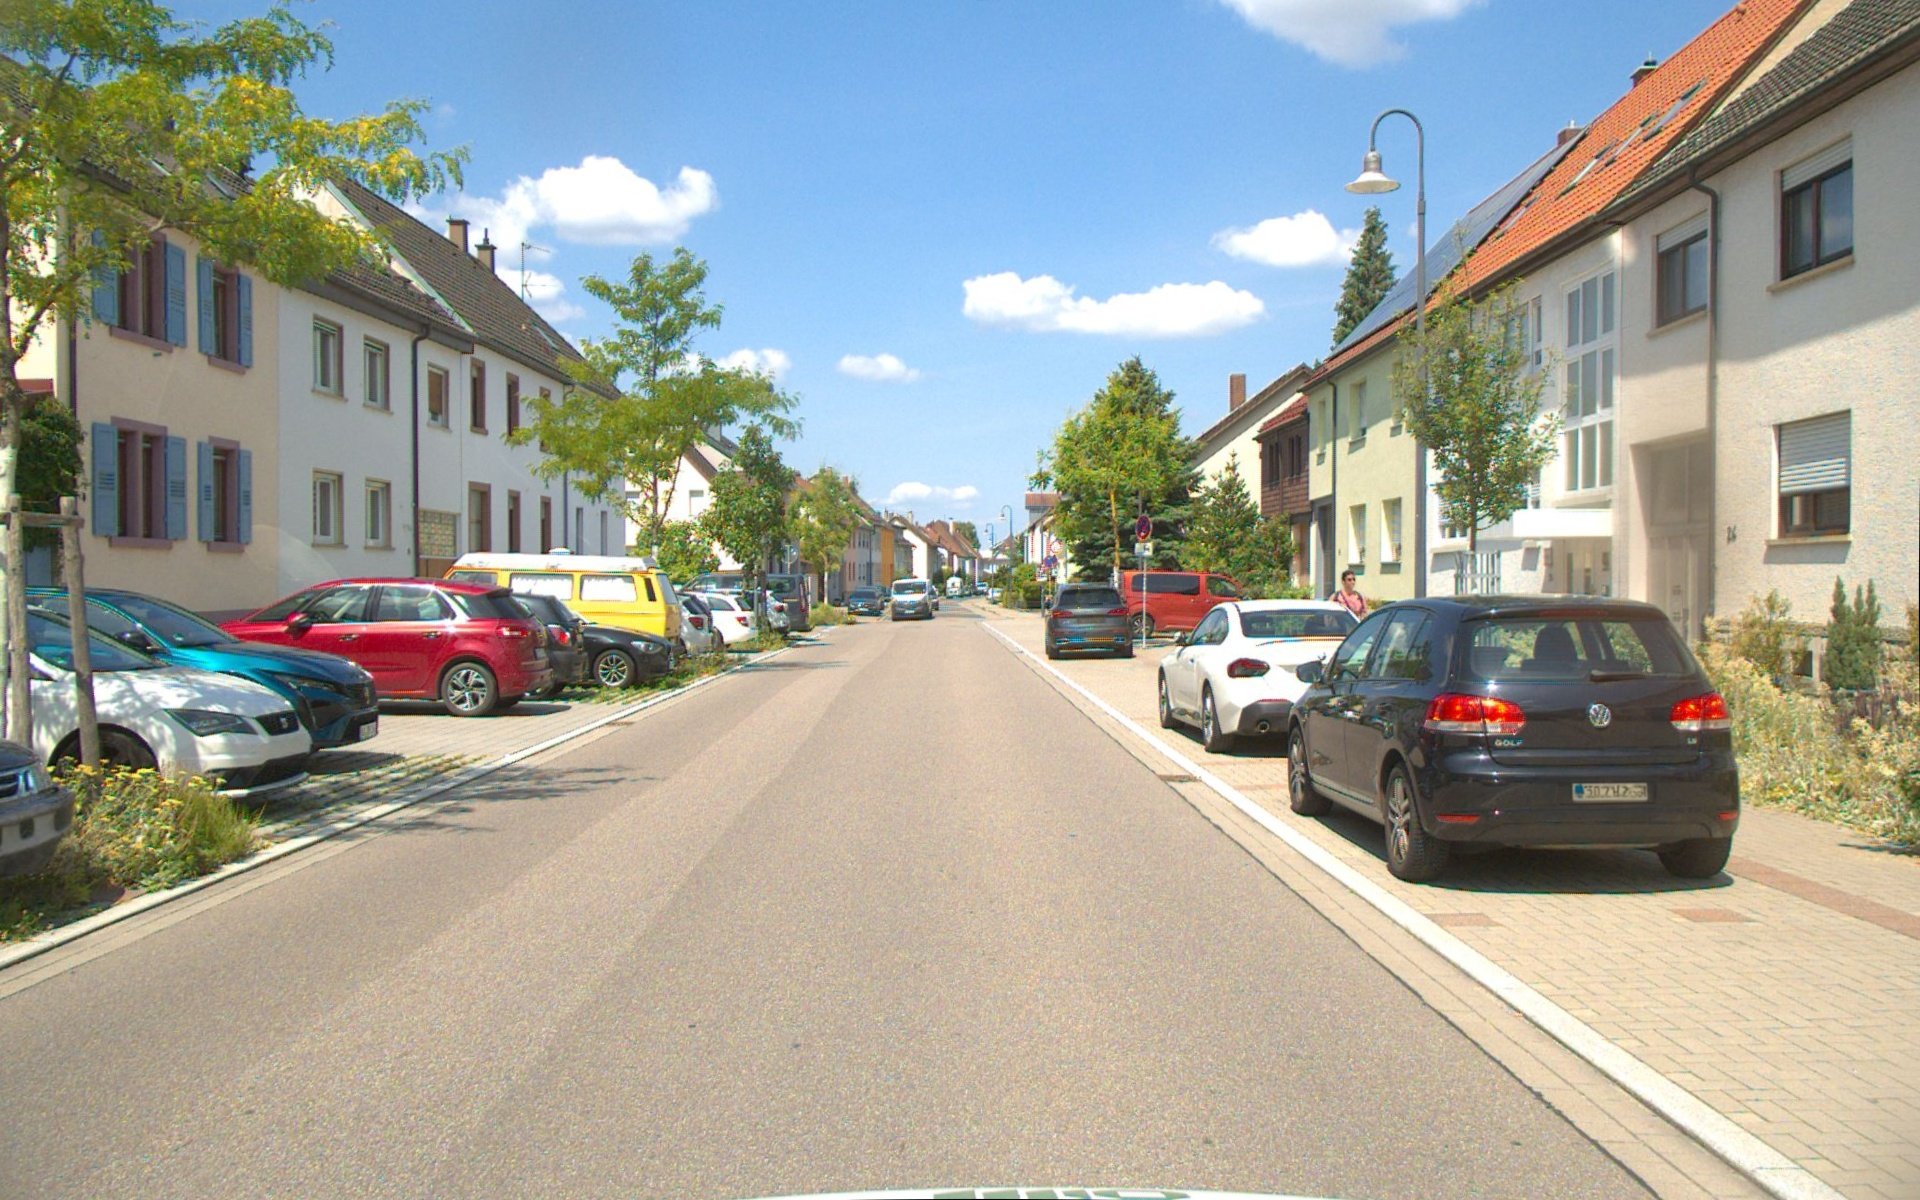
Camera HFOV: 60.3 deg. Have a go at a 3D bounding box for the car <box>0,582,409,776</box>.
[{"bbox_3d":[-7.147,0.622,14.074,4.317,1.503,1.774,1,0,-5],"label":"car"}]

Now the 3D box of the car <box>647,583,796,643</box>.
[{"bbox_3d":[-6.860,0.384,47.853,4.101,1.596,1.772,2,-1,-4],"label":"car"}]

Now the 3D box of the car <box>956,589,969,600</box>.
[{"bbox_3d":[0.345,-0.779,236.587,1.656,1.530,3.772,2,0,3],"label":"car"}]

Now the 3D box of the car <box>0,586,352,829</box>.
[{"bbox_3d":[-6.480,0.663,11.303,3.973,1.503,1.774,1,0,-4],"label":"car"}]

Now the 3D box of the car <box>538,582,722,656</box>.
[{"bbox_3d":[-7.114,0.410,35.930,3.807,1.493,1.655,1,-1,-9],"label":"car"}]

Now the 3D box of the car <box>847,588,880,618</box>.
[{"bbox_3d":[-5.569,0.161,95.688,1.780,1.458,4.137,4,1,-3],"label":"car"}]

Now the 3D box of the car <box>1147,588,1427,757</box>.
[{"bbox_3d":[3.153,0.637,16.897,1.795,1.491,4.517,0,0,-3],"label":"car"}]

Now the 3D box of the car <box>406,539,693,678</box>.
[{"bbox_3d":[-6.974,0.141,28.438,4.417,2.215,1.925,1,0,-1],"label":"car"}]

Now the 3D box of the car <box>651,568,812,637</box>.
[{"bbox_3d":[-6.921,0.087,50.538,4.604,1.957,1.937,2,-1,-1],"label":"car"}]

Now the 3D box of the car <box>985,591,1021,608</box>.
[{"bbox_3d":[4.147,-0.065,160.569,3.451,1.490,1.628,2,-1,0],"label":"car"}]

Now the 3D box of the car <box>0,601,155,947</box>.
[{"bbox_3d":[-6.289,0.706,7.417,4.432,1.450,1.795,1,0,-1],"label":"car"}]

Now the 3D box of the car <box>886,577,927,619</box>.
[{"bbox_3d":[-2.642,-0.086,82.147,1.982,1.984,4.897,0,0,-2],"label":"car"}]

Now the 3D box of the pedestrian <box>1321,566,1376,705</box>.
[{"bbox_3d":[5.063,0.452,21.565,0.546,1.779,0.673,0,-1,0],"label":"pedestrian"}]

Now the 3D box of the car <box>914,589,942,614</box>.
[{"bbox_3d":[-2.070,0.079,106.482,1.727,1.549,4.048,-2,0,-2],"label":"car"}]

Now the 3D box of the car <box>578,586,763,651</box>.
[{"bbox_3d":[-7.121,0.447,40.969,4.206,1.493,1.774,1,-1,1],"label":"car"}]

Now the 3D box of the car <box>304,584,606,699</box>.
[{"bbox_3d":[-7.023,0.559,23.284,3.716,1.485,1.754,1,0,-4],"label":"car"}]

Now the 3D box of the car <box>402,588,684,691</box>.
[{"bbox_3d":[-6.445,0.592,25.858,3.928,1.485,1.755,1,0,-1],"label":"car"}]

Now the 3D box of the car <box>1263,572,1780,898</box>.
[{"bbox_3d":[3.066,0.641,9.946,1.731,1.556,4.007,0,0,0],"label":"car"}]

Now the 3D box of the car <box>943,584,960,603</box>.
[{"bbox_3d":[-1.070,-0.837,214.720,2.002,2.352,3.772,2,0,3],"label":"car"}]

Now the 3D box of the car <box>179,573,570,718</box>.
[{"bbox_3d":[-7.147,0.533,20.512,4.167,1.639,1.842,1,0,-2],"label":"car"}]

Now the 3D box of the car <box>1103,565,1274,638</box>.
[{"bbox_3d":[6.444,0.060,46.953,4.526,1.927,2.020,1,-1,-2],"label":"car"}]

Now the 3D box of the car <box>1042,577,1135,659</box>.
[{"bbox_3d":[2.829,0.356,37.258,1.825,1.664,4.447,-2,1,2],"label":"car"}]

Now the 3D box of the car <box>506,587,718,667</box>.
[{"bbox_3d":[-6.868,0.522,32.958,3.996,1.493,1.750,1,0,-9],"label":"car"}]
